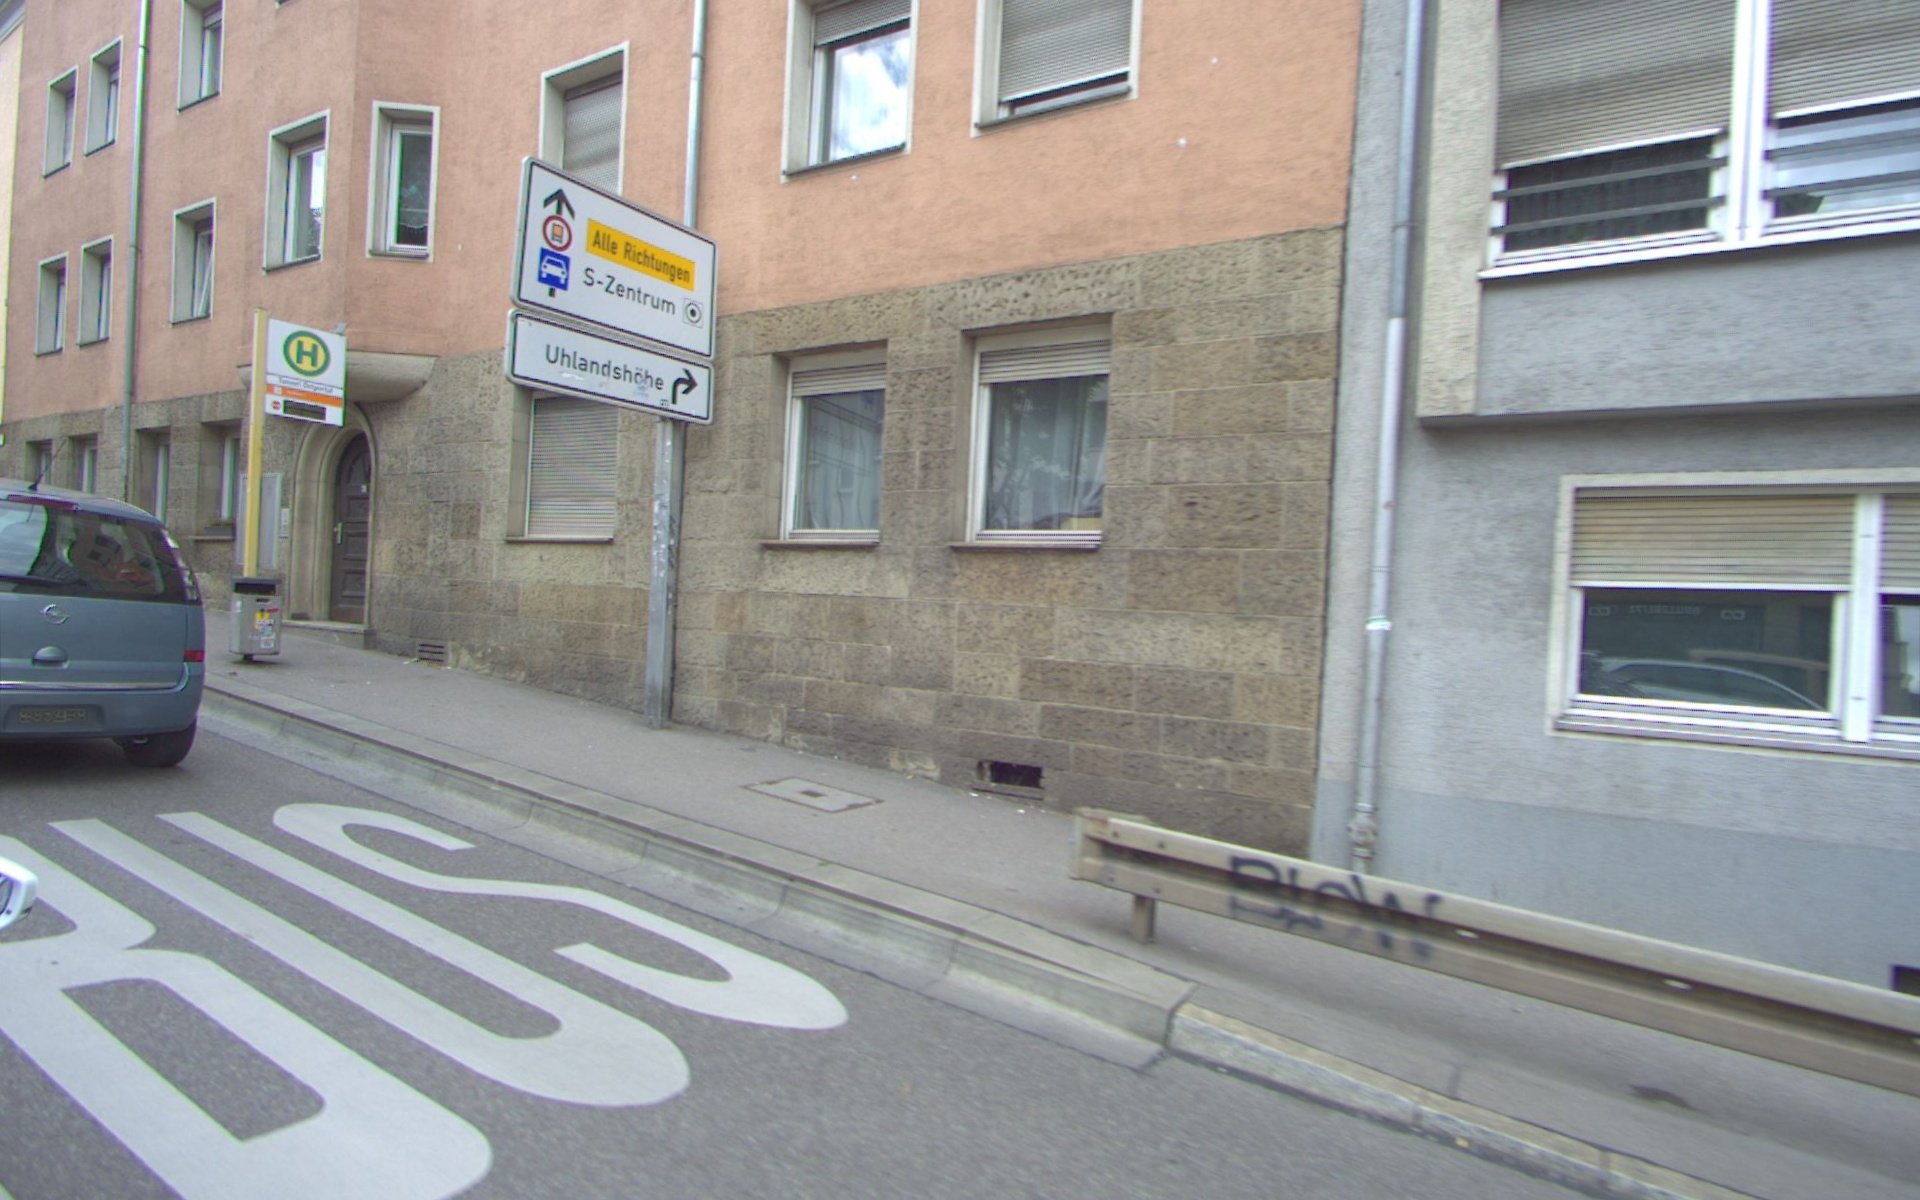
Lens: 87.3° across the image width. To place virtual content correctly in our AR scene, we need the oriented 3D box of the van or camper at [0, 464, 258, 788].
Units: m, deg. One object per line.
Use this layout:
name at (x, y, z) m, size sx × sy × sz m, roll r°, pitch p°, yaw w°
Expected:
van or camper at (-6.150, -0.020, 6.046) m, size 3.585 × 1.596 × 1.738 m, roll 7°, pitch -1°, yaw 31°
